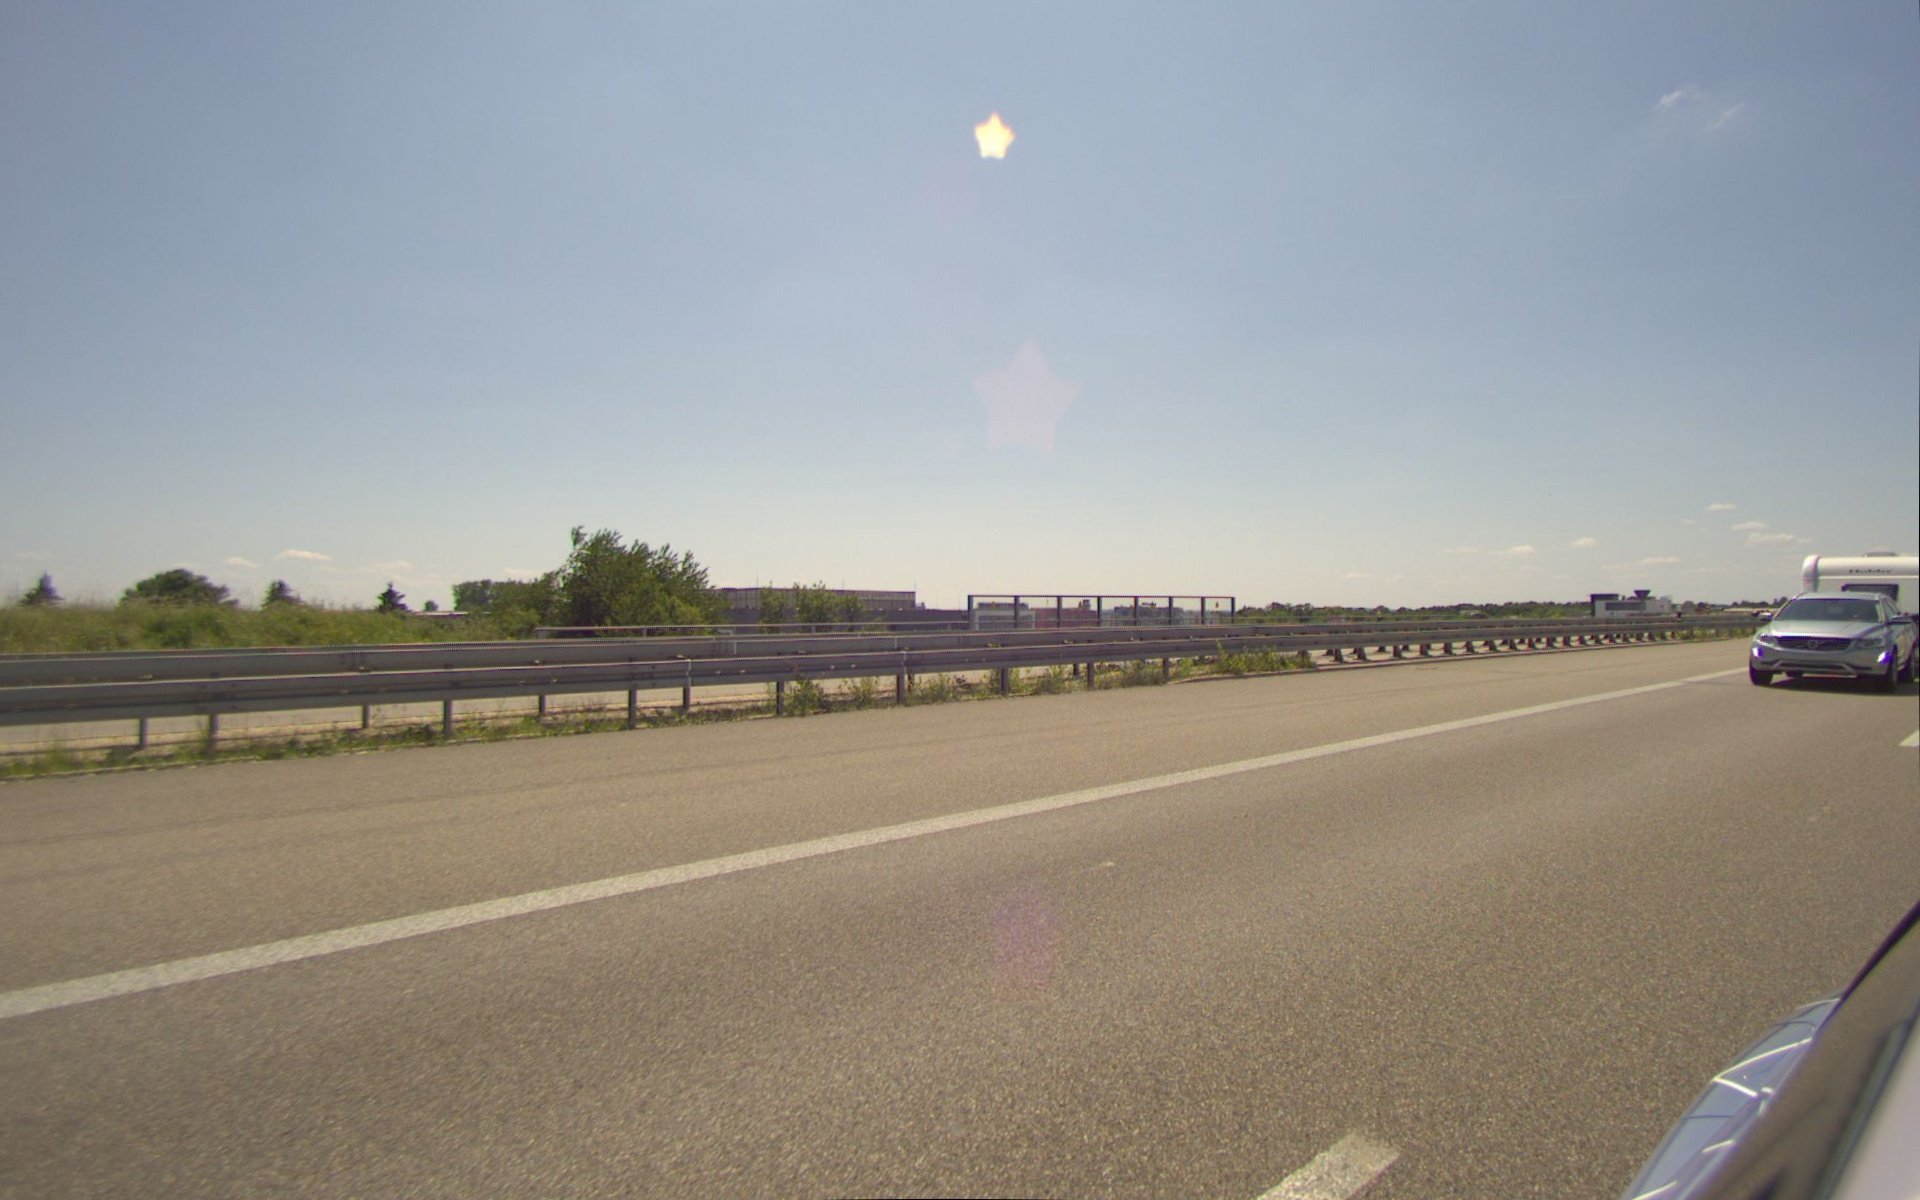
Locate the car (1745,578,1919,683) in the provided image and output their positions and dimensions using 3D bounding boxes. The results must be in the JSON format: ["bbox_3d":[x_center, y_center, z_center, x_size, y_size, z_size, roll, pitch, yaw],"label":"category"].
[{"bbox_3d":[15.875,0.495,18.116,4.816,1.643,1.884,1,0,-40],"label":"car"}]

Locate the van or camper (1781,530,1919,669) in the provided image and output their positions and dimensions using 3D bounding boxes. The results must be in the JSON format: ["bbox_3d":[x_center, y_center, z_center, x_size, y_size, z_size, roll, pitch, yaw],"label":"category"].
[{"bbox_3d":[20.524,0.042,22.156,7.676,2.626,2.518,1,-1,-40],"label":"van or camper"}]
